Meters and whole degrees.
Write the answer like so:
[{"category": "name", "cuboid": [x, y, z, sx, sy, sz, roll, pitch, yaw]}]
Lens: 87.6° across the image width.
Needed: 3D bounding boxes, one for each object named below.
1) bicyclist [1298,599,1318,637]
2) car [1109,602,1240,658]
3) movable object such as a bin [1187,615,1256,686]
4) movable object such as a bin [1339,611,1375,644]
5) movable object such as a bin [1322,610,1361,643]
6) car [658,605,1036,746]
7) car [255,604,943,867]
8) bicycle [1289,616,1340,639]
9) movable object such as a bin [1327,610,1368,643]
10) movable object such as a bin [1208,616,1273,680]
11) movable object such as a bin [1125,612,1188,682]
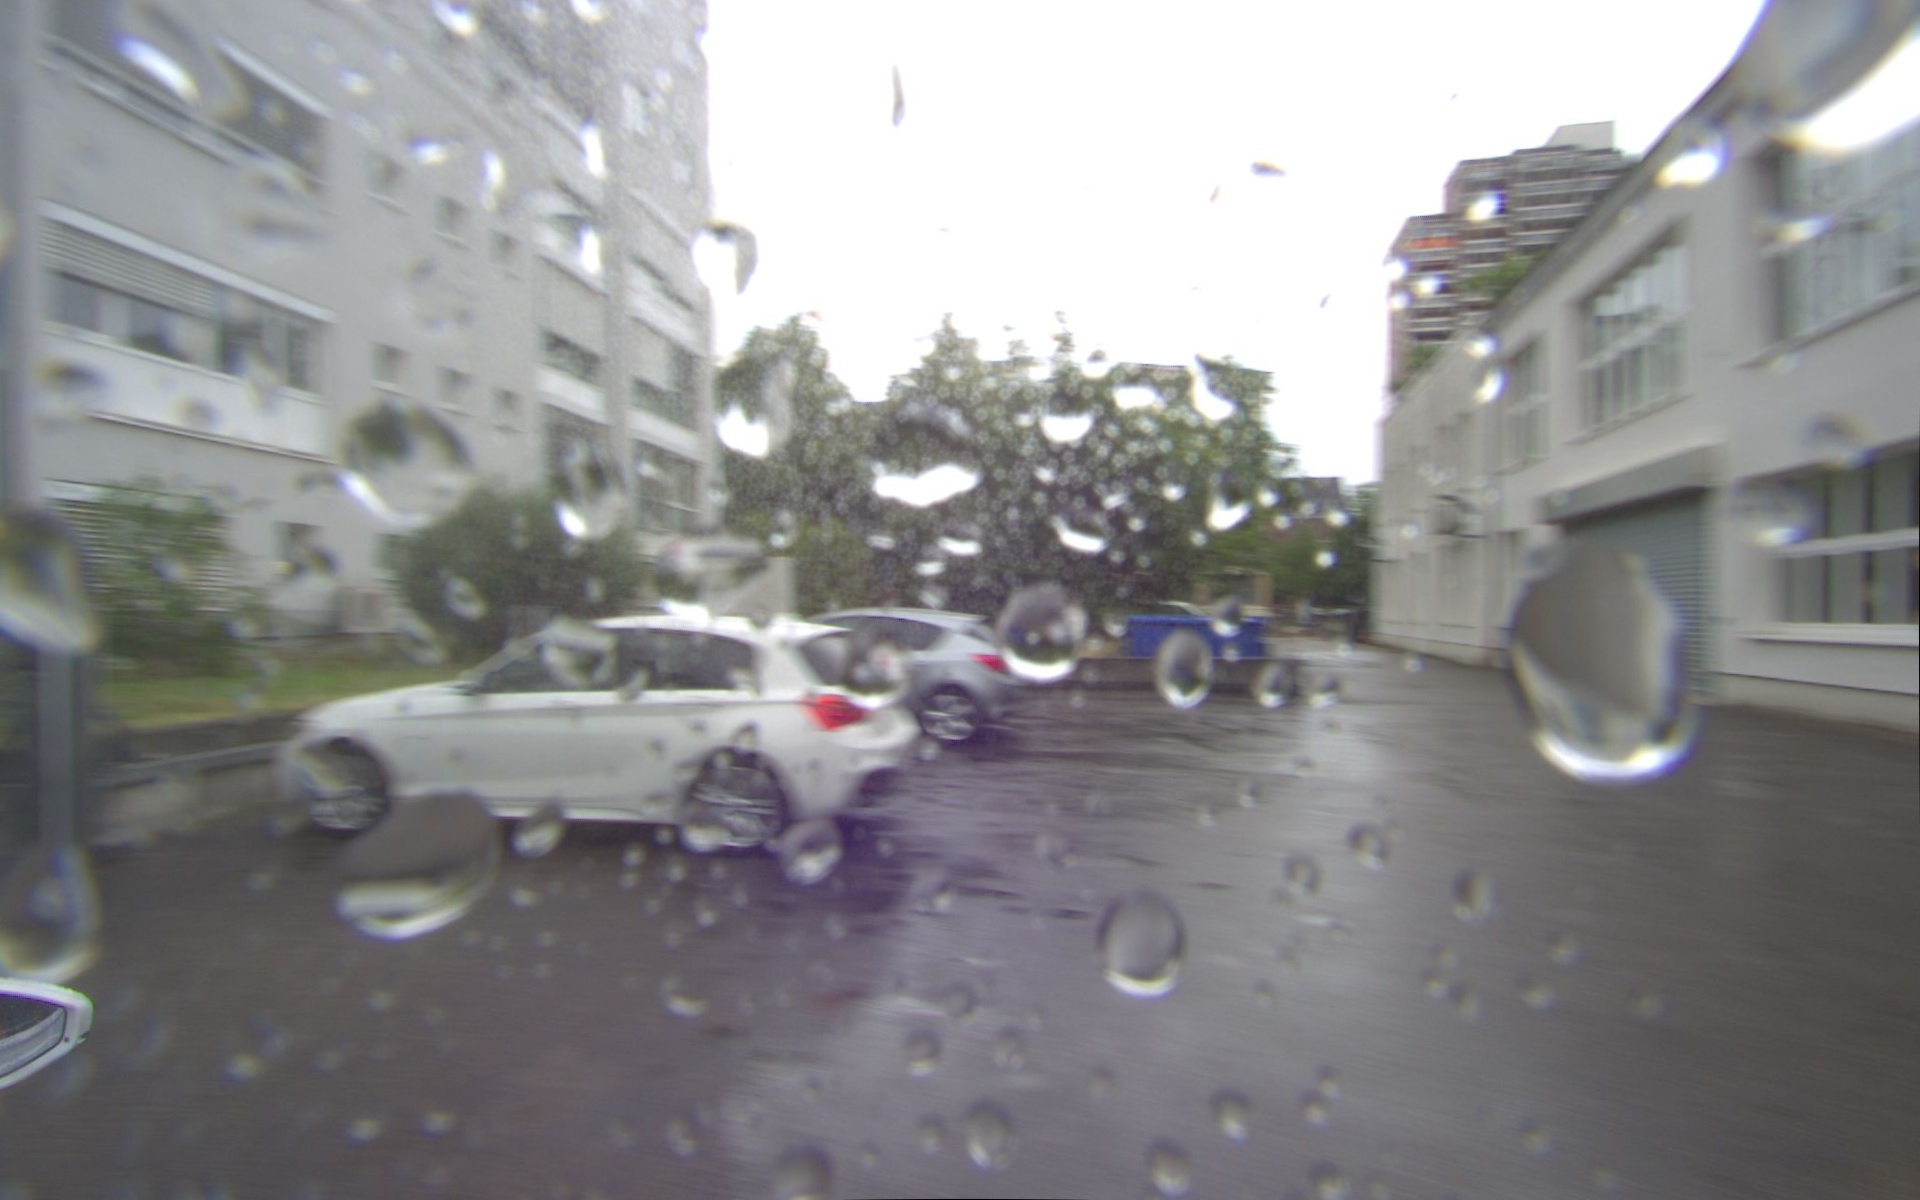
[{"category": "bicyclist", "cuboid": [18.931, 0.965, 54.454, 0.696, 2.040, 0.745, 0, 1, -16]}, {"category": "car", "cuboid": [8.053, 1.172, 37.498, 4.612, 1.904, 2.122, -2, -4, 15]}, {"category": "movable object such as a bin", "cuboid": [5.408, 1.054, 20.827, 1.289, 1.374, 1.905, -2, -3, 13]}, {"category": "movable object such as a bin", "cuboid": [17.677, 1.227, 44.597, 1.165, 1.391, 1.314, -1, -2, 8]}, {"category": "movable object such as a bin", "cuboid": [18.088, 1.268, 47.520, 1.464, 1.466, 1.314, -1, -2, 8]}, {"category": "car", "cuboid": [-1.239, 0.849, 12.055, 4.140, 1.509, 2.000, 0, -1, 10]}, {"category": "car", "cuboid": [-2.333, 0.821, 7.086, 4.140, 1.509, 2.000, 0, -1, 10]}, {"category": "bicycle", "cuboid": [19.318, 1.474, 54.572, 2.691, 1.202, 0.736, -1, 0, -16]}, {"category": "movable object such as a bin", "cuboid": [17.879, 1.234, 46.187, 1.464, 1.466, 1.314, -1, -2, 8]}, {"category": "movable object such as a bin", "cuboid": [6.293, 1.086, 22.603, 1.289, 1.374, 1.905, -2, -3, 13]}, {"category": "movable object such as a bin", "cuboid": [4.165, 1.000, 21.136, 1.210, 1.374, 1.970, -2, -3, 13]}]
